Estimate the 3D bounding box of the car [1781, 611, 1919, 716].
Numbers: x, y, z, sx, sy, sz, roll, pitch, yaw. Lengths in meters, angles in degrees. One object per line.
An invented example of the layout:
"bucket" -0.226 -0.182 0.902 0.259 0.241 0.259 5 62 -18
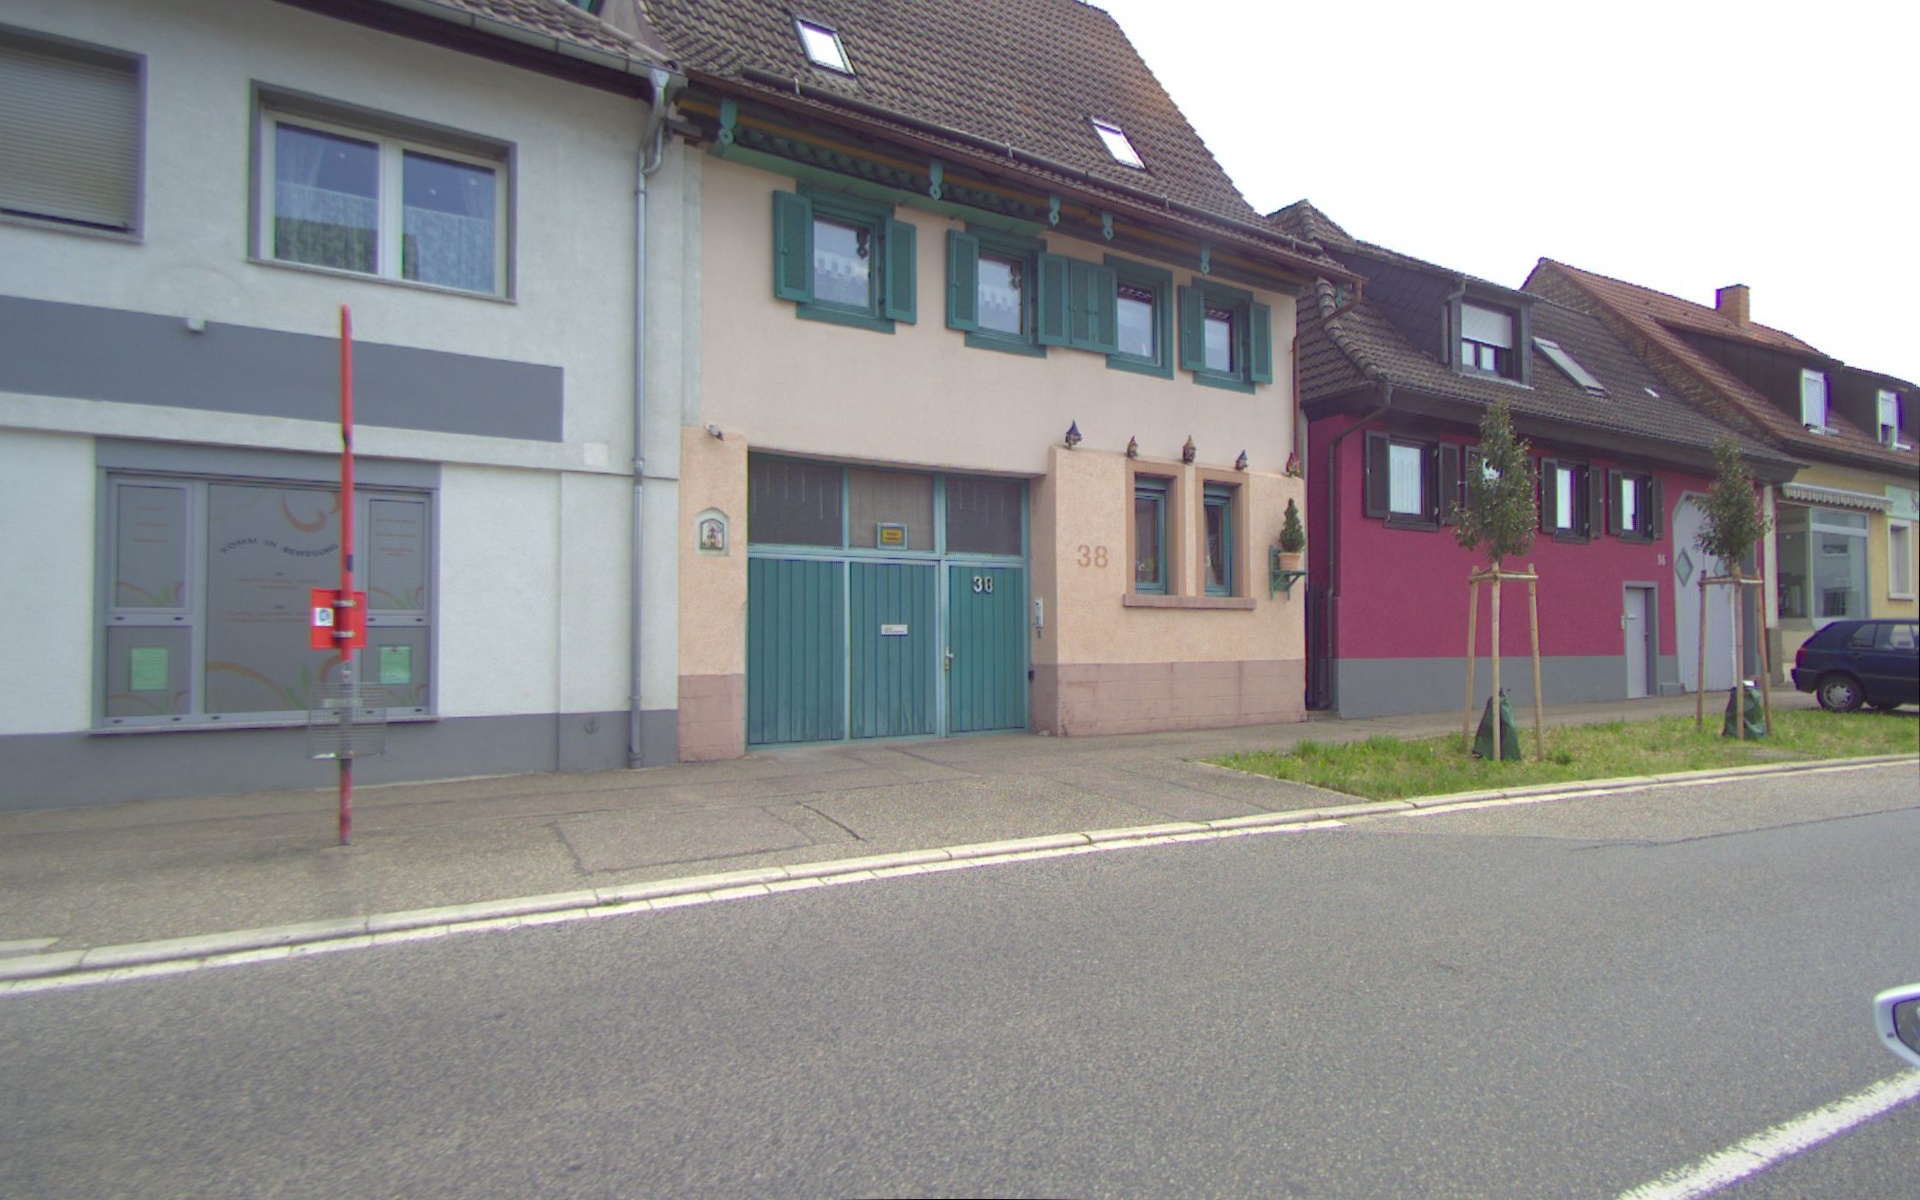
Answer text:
"car" 14.462 0.915 14.309 1.700 1.483 3.950 1 -1 -29
